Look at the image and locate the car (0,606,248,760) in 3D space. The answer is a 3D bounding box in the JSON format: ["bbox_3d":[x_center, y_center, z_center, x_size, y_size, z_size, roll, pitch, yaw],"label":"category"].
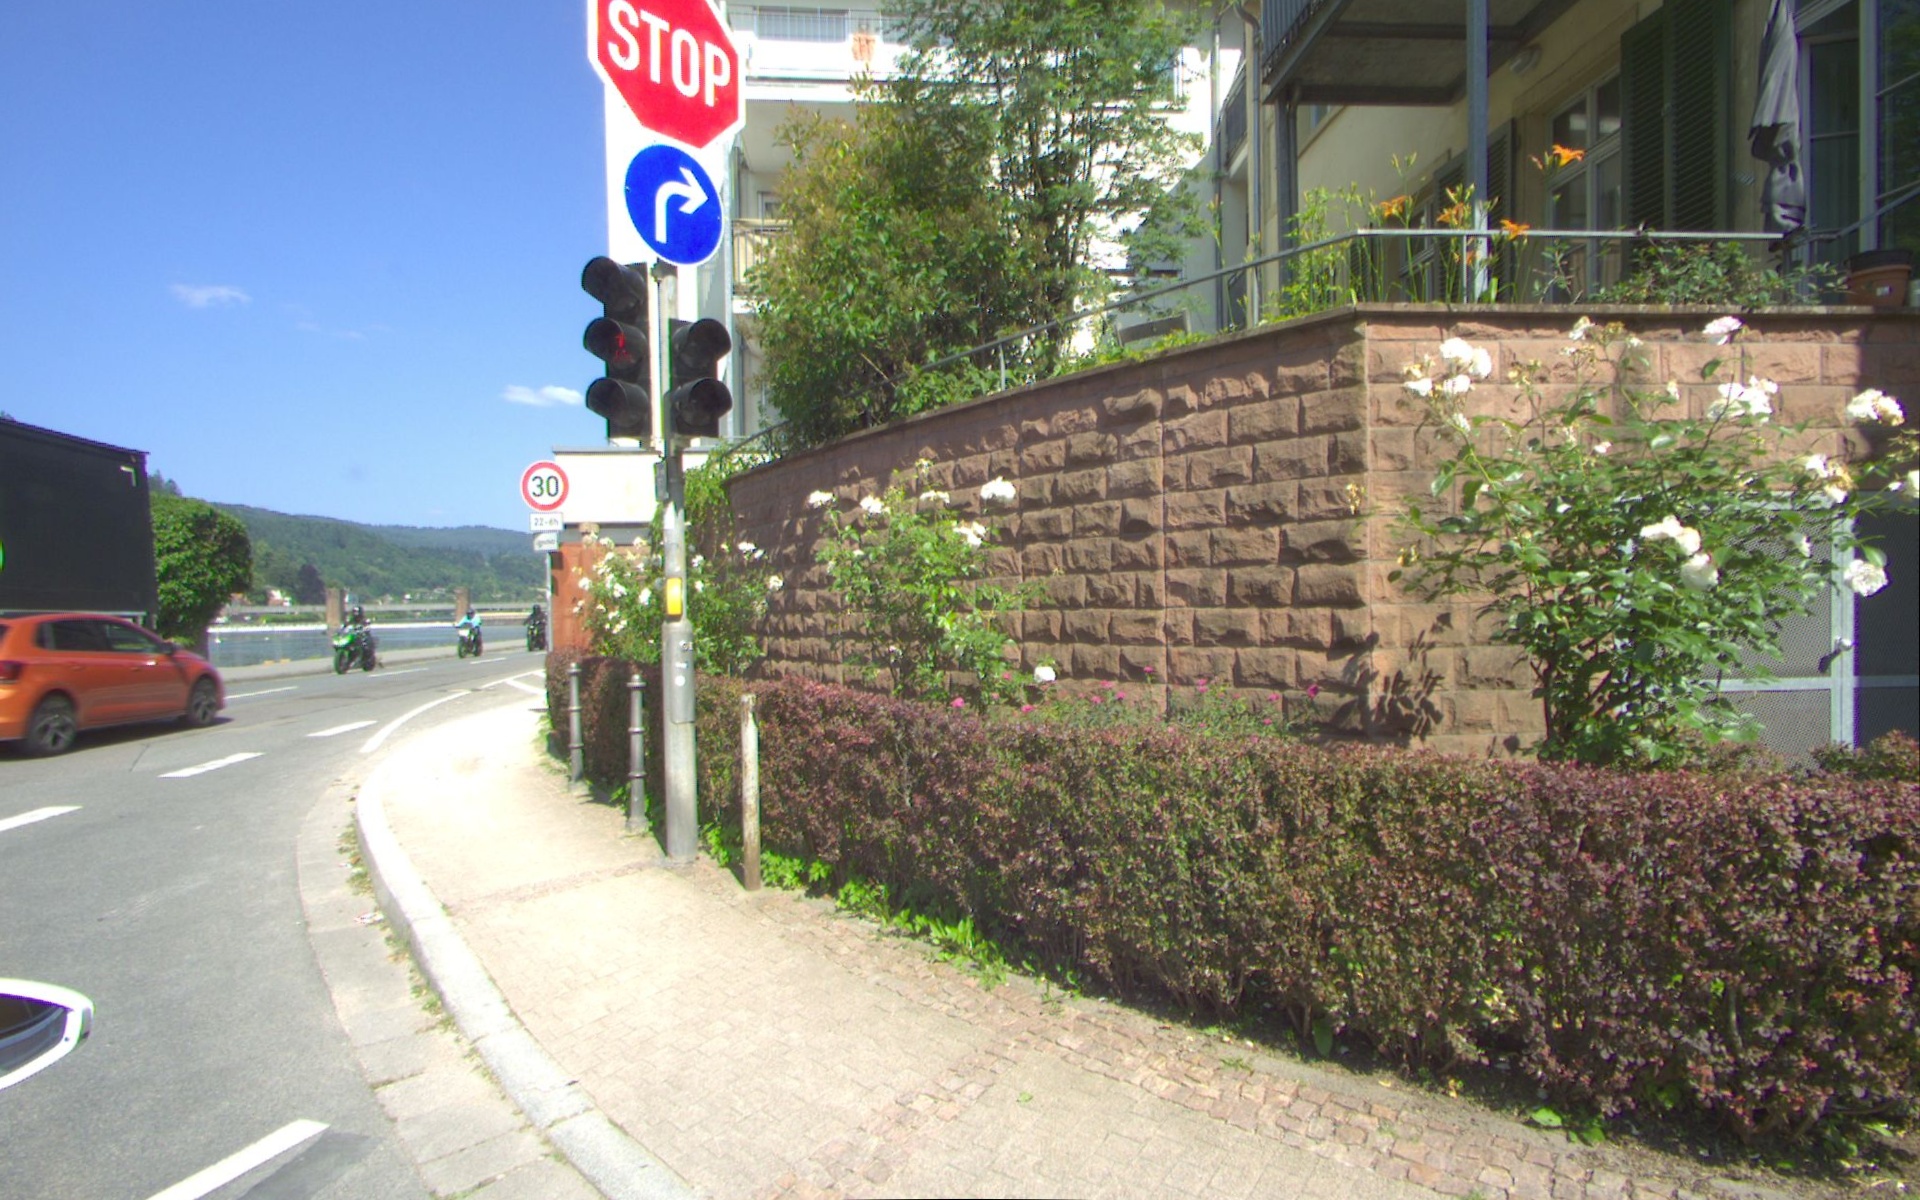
[{"bbox_3d":[-9.944,0.793,11.074,1.697,1.424,4.016,-1,0,-8],"label":"car"}]

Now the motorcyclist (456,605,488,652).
[{"bbox_3d":[-16.713,0.960,34.340,0.653,1.545,0.991,-2,1,-9],"label":"motorcyclist"}]

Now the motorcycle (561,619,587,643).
[{"bbox_3d":[-17.312,1.382,44.904,0.646,1.038,1.814,-1,0,-8],"label":"motorcycle"}]

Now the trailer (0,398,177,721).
[{"bbox_3d":[-13.251,-0.495,9.099,2.788,4.158,13.765,-3,0,-7],"label":"trailer"}]

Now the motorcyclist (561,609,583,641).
[{"bbox_3d":[-17.332,1.122,44.733,0.706,1.384,0.936,-1,0,-8],"label":"motorcyclist"}]

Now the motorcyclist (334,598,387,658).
[{"bbox_3d":[-15.419,0.710,25.780,0.766,1.479,0.991,-2,1,-8],"label":"motorcyclist"}]

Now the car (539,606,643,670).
[{"bbox_3d":[-8.917,0.883,24.476,1.661,1.417,3.737,1,-1,-9],"label":"car"}]

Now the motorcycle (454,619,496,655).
[{"bbox_3d":[-16.750,1.267,34.626,0.623,1.138,2.092,-3,0,-8],"label":"motorcycle"}]

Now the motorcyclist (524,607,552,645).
[{"bbox_3d":[-15.847,0.959,37.639,0.774,1.384,0.800,-1,0,-8],"label":"motorcyclist"}]

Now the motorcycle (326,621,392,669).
[{"bbox_3d":[-15.401,1.134,25.716,0.623,1.138,2.092,-3,0,-8],"label":"motorcycle"}]

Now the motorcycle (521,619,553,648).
[{"bbox_3d":[-15.836,1.243,37.540,0.646,1.038,1.814,-1,0,-8],"label":"motorcycle"}]
